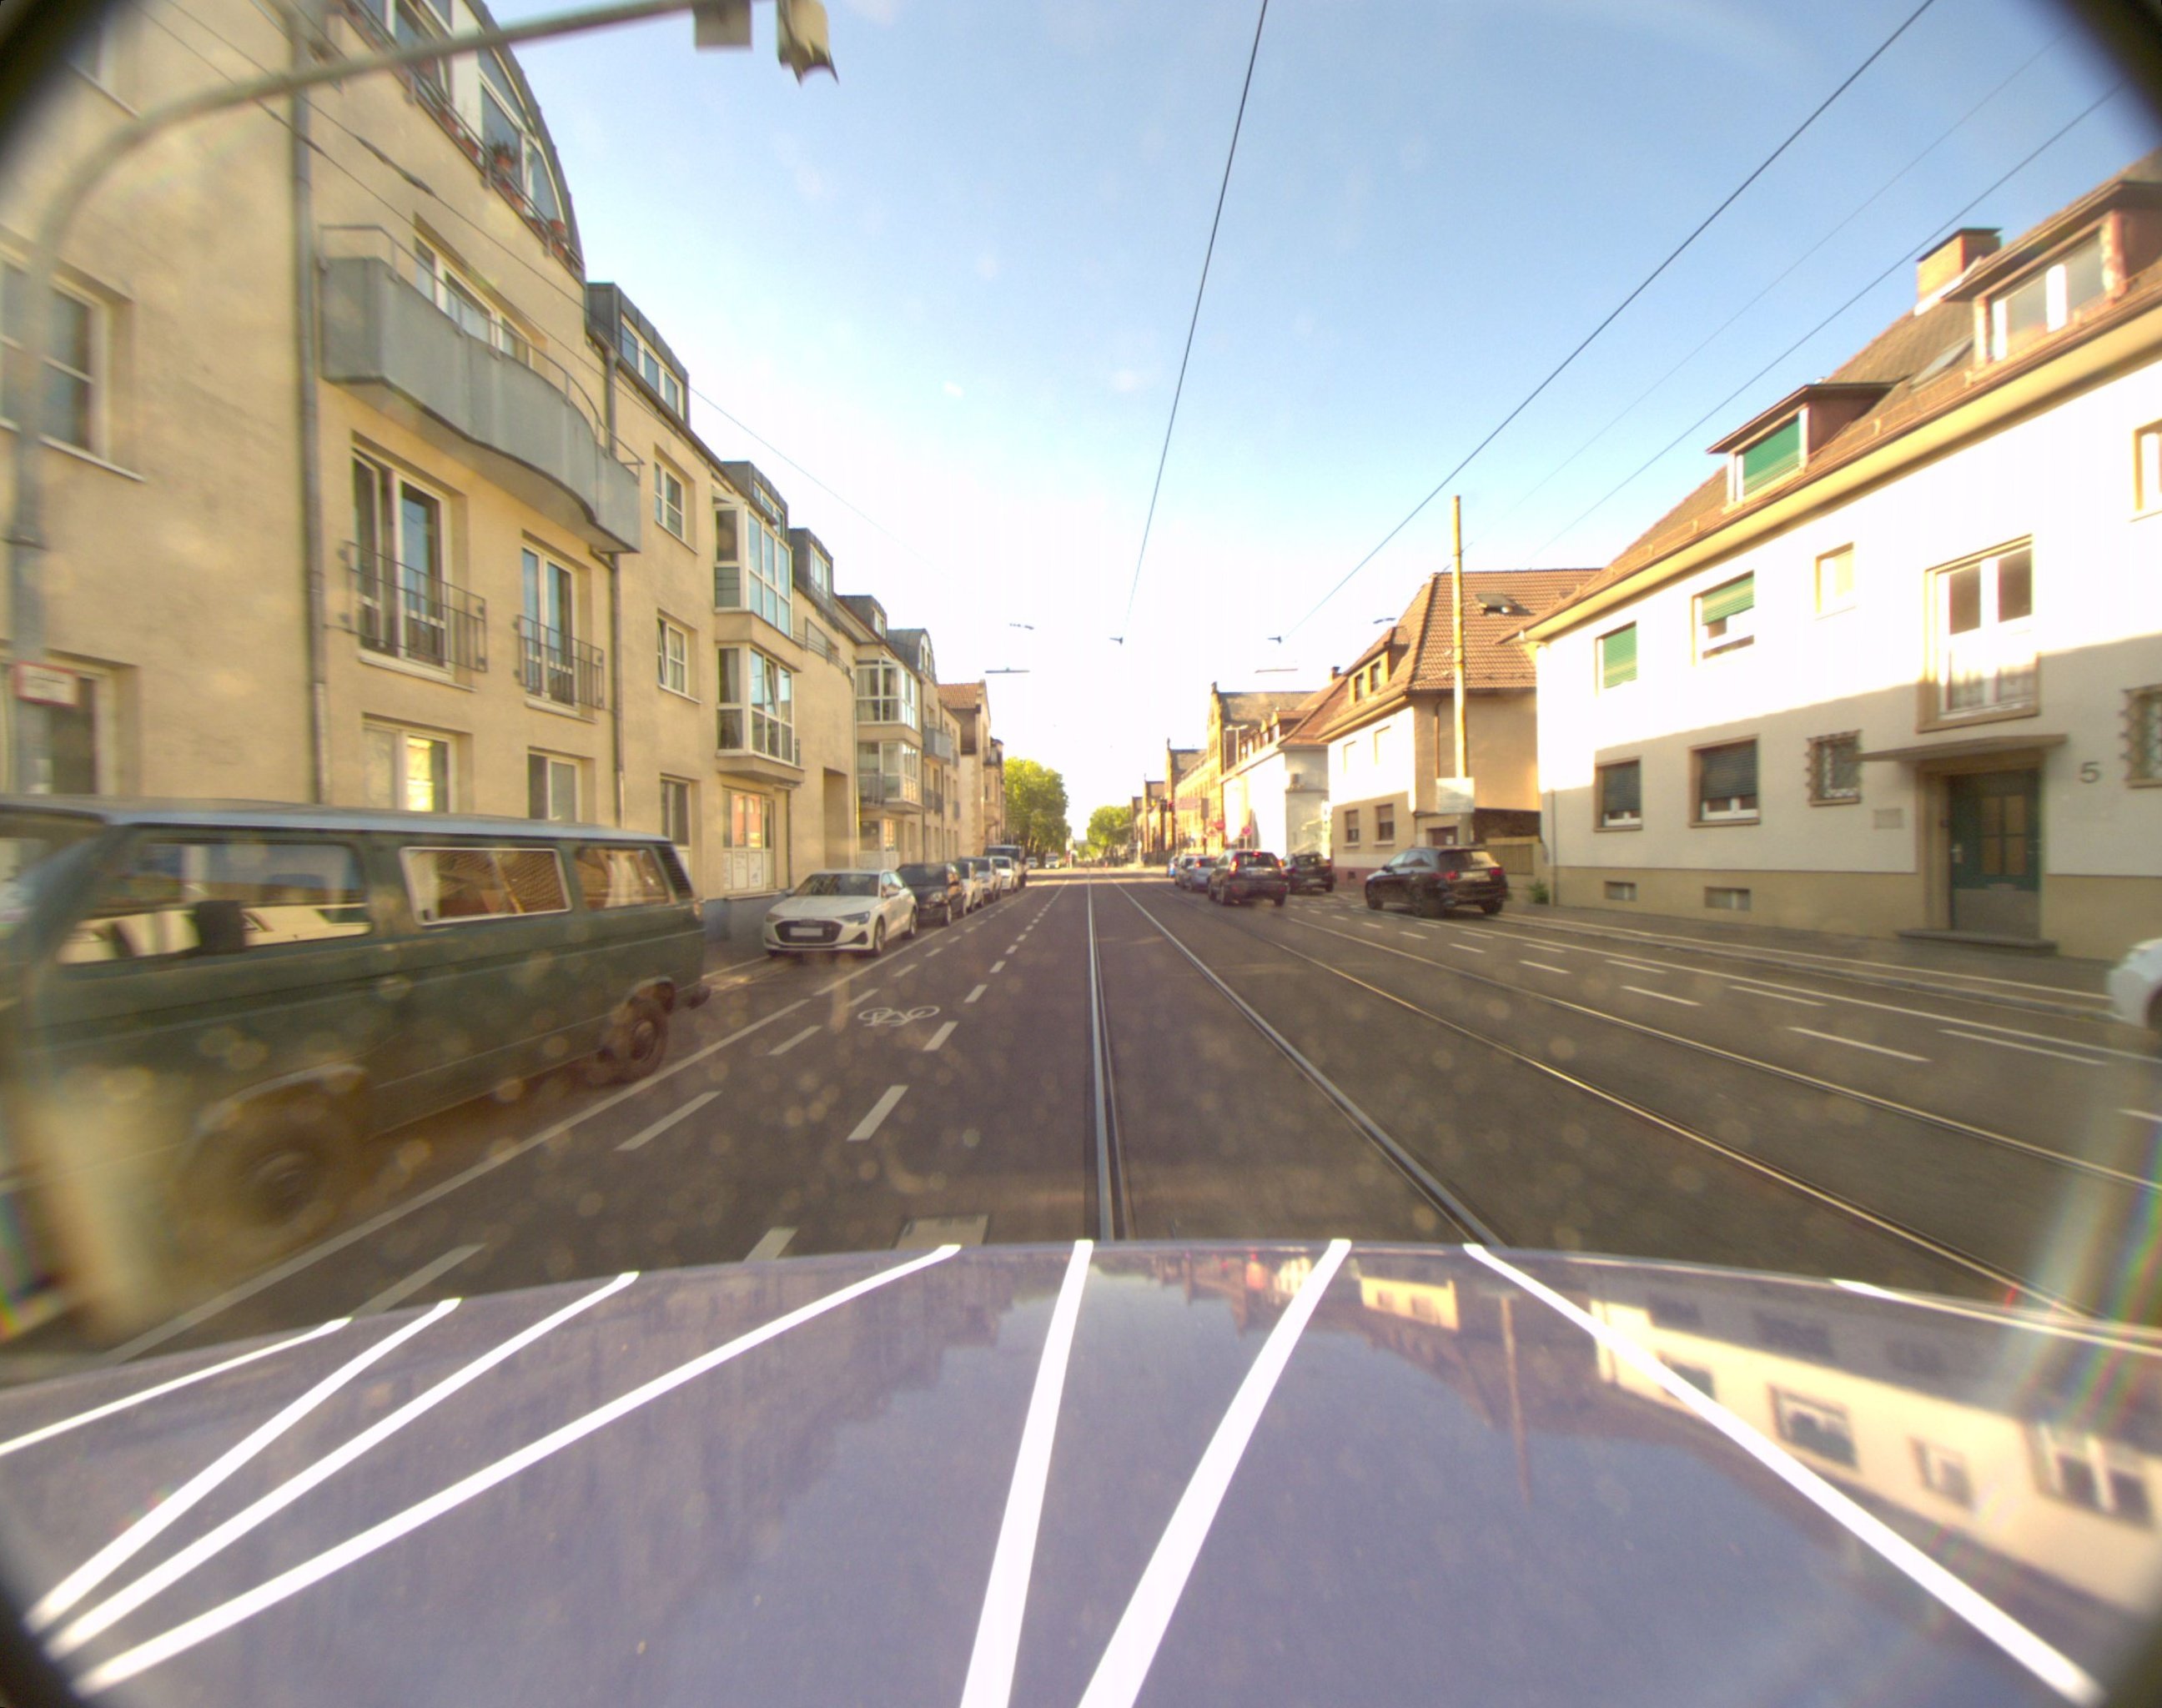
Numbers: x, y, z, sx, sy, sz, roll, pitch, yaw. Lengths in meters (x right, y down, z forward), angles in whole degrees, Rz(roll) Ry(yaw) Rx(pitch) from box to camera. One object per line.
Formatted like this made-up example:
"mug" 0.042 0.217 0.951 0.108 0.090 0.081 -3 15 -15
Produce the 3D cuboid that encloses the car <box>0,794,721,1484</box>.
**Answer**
"car" -4.091 0.857 4.234 1.910 1.975 4.562 -3 0 0

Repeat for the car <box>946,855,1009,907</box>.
"car" -3.720 0.936 27.843 1.606 1.690 3.989 -3 0 1

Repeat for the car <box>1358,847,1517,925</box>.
"car" 8.602 0.684 18.831 1.766 1.695 4.555 0 0 0

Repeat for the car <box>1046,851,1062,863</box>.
"car" -3.688 0.446 106.217 1.984 1.539 4.035 -1 -1 1

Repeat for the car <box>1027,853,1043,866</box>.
"car" -6.298 0.780 104.629 1.911 1.608 4.572 -2 -1 0

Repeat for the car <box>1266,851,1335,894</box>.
"car" 8.735 0.690 30.522 1.619 1.618 3.921 0 0 0

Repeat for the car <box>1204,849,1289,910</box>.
"car" 4.977 0.690 23.353 1.708 1.695 4.364 0 0 1

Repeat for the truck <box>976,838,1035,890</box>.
"truck" -3.831 0.463 39.562 2.301 2.463 6.146 -1 0 1

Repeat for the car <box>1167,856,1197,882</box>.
"car" 6.670 0.969 50.312 1.687 1.558 3.929 1 0 4

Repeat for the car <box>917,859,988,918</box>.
"car" -3.799 0.966 22.879 1.500 1.548 3.364 -3 0 0

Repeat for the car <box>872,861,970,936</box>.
"car" -3.788 1.007 18.582 1.558 1.548 3.652 -3 0 0

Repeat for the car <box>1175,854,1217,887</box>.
"car" 5.452 0.755 36.463 1.586 1.452 3.613 0 0 2

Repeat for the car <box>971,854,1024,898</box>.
"car" -3.587 0.894 33.300 1.743 1.736 4.255 -3 0 1

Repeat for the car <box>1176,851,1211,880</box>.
"car" 6.459 0.632 44.069 1.742 1.601 4.716 0 0 5

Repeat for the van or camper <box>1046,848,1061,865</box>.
"van or camper" -4.179 0.408 115.547 1.998 2.346 5.600 -1 -1 0

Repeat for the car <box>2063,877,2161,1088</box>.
"car" 8.287 0.911 3.775 1.635 1.449 4.015 0 0 1

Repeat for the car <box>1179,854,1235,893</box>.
"car" 5.134 0.752 31.316 1.621 1.452 4.074 0 0 0

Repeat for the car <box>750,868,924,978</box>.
"car" -4.083 1.073 13.479 1.681 1.482 4.172 -3 0 0
